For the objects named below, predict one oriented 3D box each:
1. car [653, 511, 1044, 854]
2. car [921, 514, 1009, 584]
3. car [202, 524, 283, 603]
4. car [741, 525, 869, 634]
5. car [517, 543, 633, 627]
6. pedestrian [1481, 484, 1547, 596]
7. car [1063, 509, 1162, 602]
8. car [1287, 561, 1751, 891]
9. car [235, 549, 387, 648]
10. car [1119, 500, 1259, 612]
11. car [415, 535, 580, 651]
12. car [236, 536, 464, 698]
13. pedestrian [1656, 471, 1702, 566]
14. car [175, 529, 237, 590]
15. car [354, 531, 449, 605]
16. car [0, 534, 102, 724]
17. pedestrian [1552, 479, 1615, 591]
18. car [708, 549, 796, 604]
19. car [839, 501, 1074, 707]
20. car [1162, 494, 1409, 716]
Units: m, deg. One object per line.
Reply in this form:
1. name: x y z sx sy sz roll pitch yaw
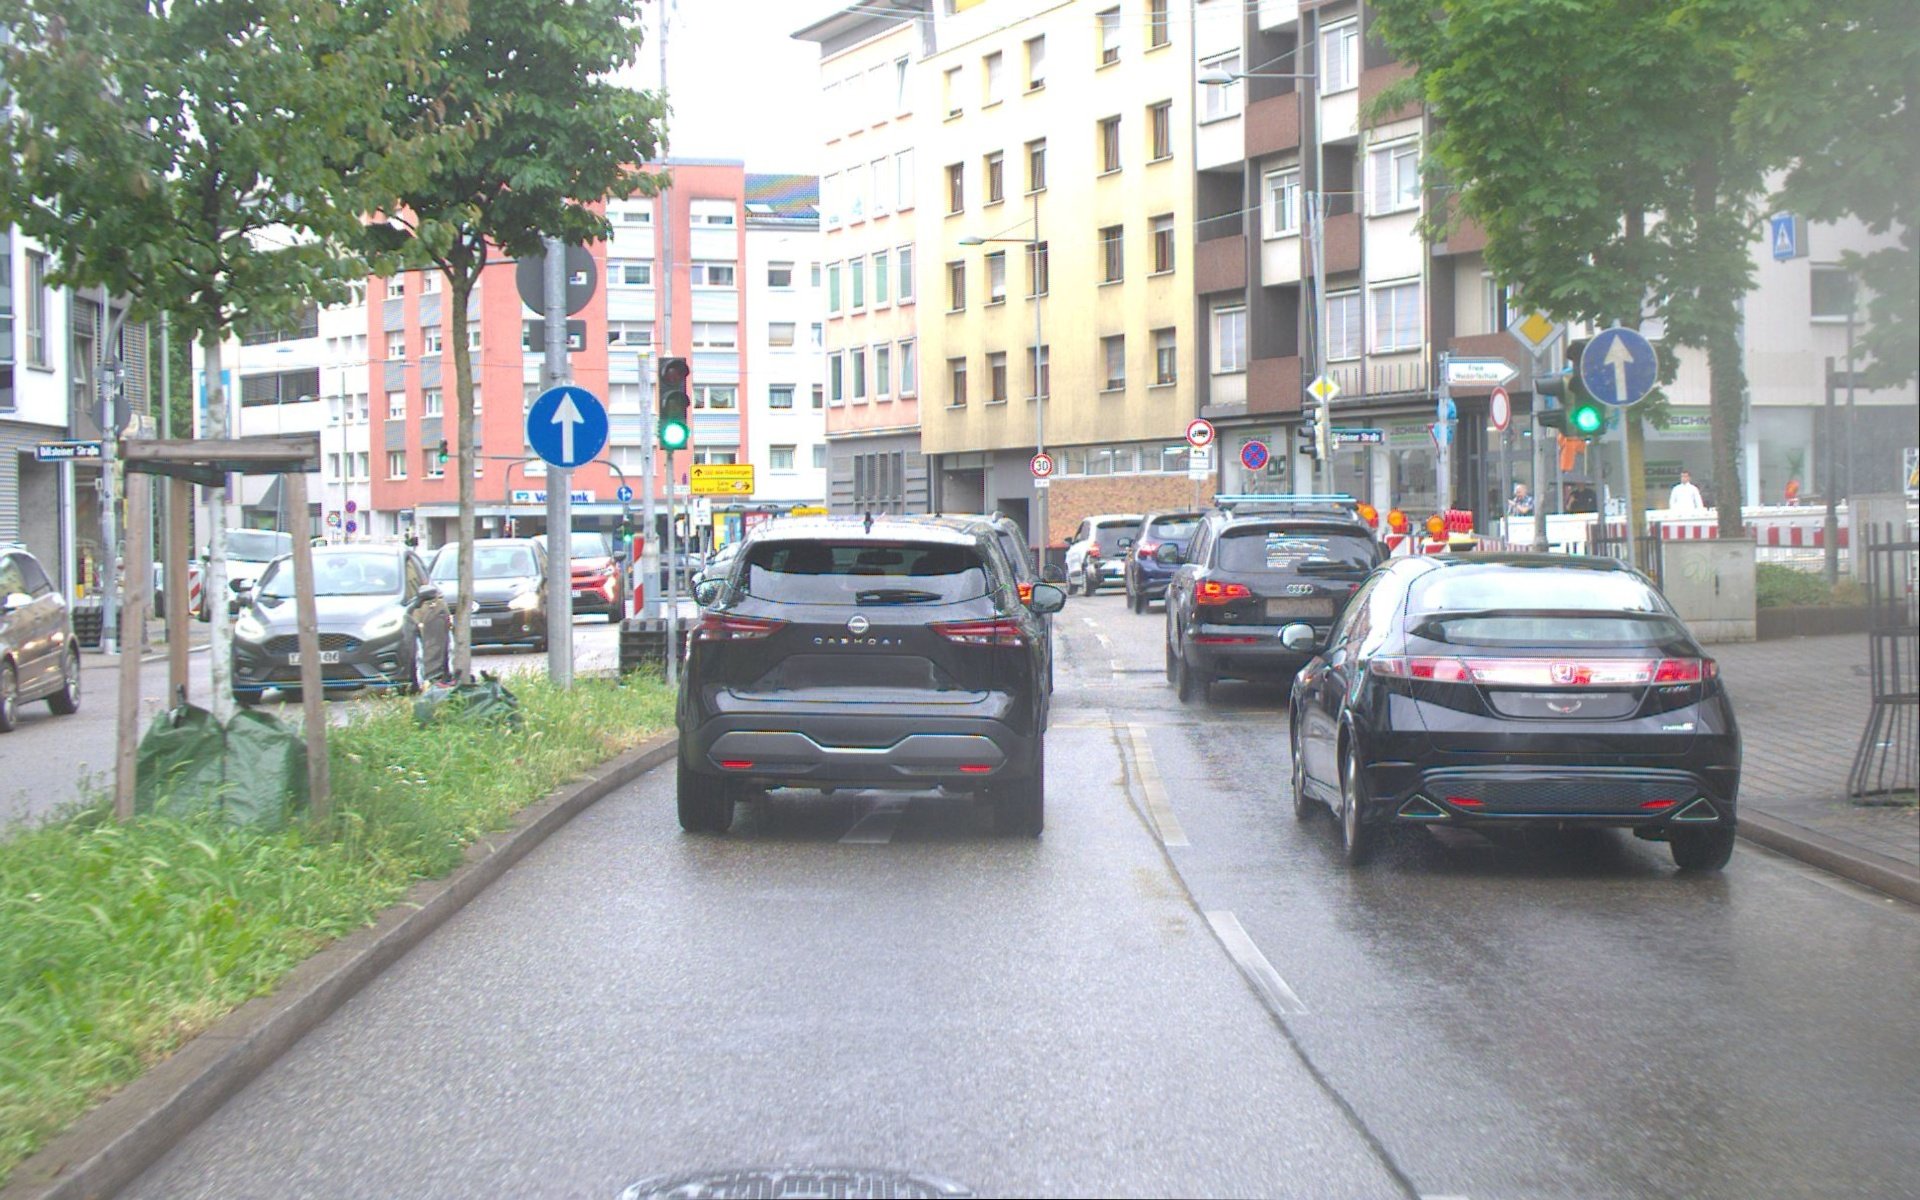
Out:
1. car: -0.553 0.358 18.134 1.823 1.595 3.719 1 1 -1
2. car: 0.087 -1.068 72.166 1.641 1.376 3.349 -2 1 -3
3. car: -14.851 -0.748 71.276 1.549 1.565 3.349 1 0 -11
4. car: -2.119 -0.298 47.107 1.641 1.376 3.349 -2 1 -3
5. car: -6.435 -0.267 57.779 1.641 1.317 3.349 -2 1 -2
6. pedestrian: 10.072 -1.101 62.527 0.821 2.007 0.840 1 2 -20
7. car: 2.958 -0.890 66.742 1.830 1.678 3.718 1 2 2
8. car: 2.600 0.526 16.783 1.786 1.395 3.718 0 1 2
9. car: -9.097 -0.044 48.372 1.550 1.285 3.348 -2 1 -2
10. car: 3.363 -0.688 51.142 1.830 1.557 3.719 1 2 0
11. car: -5.898 -0.122 44.176 1.670 1.365 3.753 -2 1 -2
12. car: -5.867 0.122 33.422 1.532 1.408 3.937 -3 1 -1
13. pedestrian: 13.482 -1.534 64.471 0.528 1.763 0.623 1 2 -31
14. car: -18.684 -1.017 85.196 1.455 1.425 3.371 1 2 -12
15. car: -11.876 -0.685 73.244 1.640 1.485 3.349 -2 1 -4
16. car: -8.920 0.253 30.537 1.632 1.586 3.937 -3 1 -2
17. pedestrian: 11.269 -1.179 62.108 0.821 2.007 0.840 1 1 -10
18. car: -5.374 -0.608 88.664 1.640 1.340 3.349 -2 1 -14
19. car: -0.052 -0.004 29.057 1.823 1.595 3.719 1 1 -1
20. car: 2.820 -0.012 30.503 1.830 1.799 3.719 1 2 0
